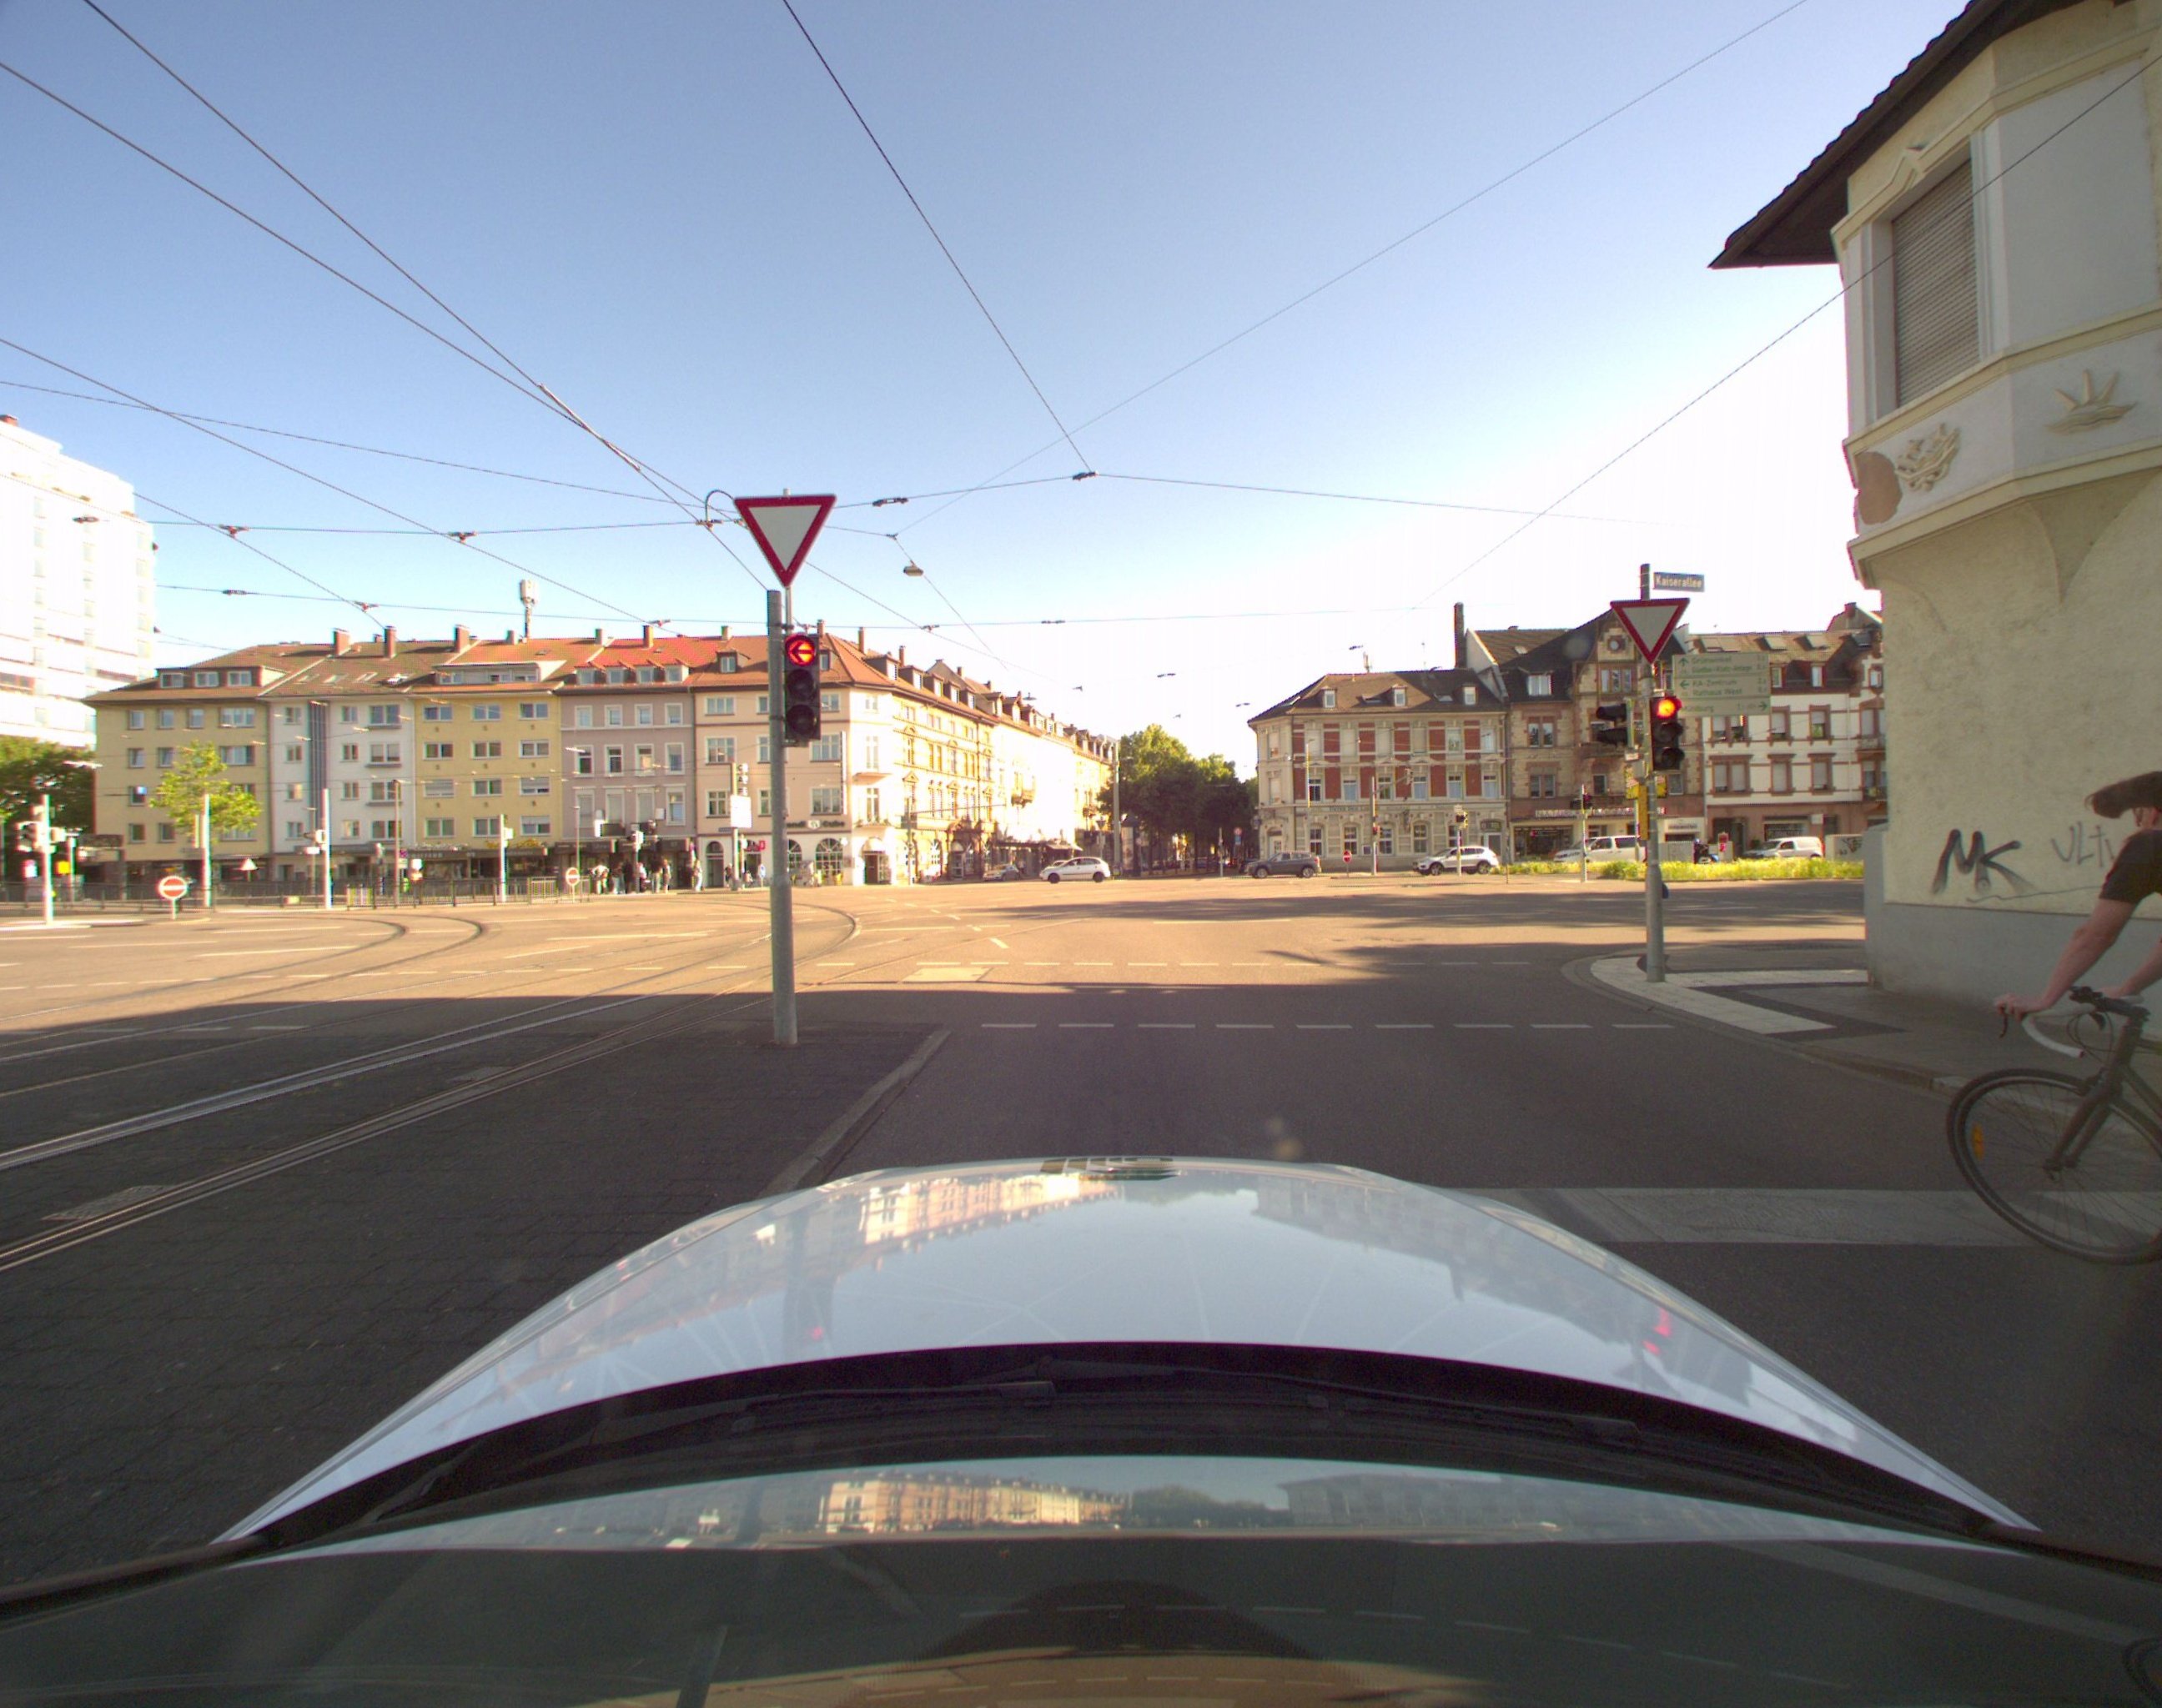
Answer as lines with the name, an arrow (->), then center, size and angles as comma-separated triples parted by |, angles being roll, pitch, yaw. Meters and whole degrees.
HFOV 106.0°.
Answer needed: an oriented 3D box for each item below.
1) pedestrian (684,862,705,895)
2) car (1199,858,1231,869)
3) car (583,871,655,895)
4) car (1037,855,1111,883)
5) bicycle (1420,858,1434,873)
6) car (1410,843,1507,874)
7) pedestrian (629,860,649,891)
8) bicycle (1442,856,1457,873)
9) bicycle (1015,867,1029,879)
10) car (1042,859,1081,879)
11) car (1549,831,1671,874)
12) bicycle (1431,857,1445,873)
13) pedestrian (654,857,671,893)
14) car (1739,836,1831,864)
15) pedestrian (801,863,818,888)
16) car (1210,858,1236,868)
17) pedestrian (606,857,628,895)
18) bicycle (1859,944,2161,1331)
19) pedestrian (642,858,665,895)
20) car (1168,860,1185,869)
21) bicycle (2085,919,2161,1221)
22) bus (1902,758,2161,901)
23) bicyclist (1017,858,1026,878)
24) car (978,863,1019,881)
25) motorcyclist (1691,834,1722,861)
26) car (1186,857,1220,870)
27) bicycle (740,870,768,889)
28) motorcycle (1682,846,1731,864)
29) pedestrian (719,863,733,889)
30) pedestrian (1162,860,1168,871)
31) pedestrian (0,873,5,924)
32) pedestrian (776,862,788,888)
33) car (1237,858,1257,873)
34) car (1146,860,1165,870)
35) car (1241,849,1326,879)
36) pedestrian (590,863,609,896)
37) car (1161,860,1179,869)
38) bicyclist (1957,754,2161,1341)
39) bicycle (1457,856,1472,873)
pedestrian -> -19.990, 1.276, 42.126 | 0.738, 1.682, 0.628 | -1, 0, 1
car -> 17.336, 1.222, 105.162 | 3.959, 1.288, 1.700 | -1, 0, 13
car -> -30.342, 1.899, 53.532 | 3.711, 1.491, 1.820 | 0, -1, 4
car -> -0.334, 0.807, 45.427 | 4.013, 1.423, 1.886 | -1, 0, 1
bicycle -> 22.486, 0.730, 52.979 | 0.483, 0.914, 1.789 | -1, 0, 12
car -> 22.215, 0.261, 48.037 | 4.840, 1.653, 1.999 | -1, 0, -1
pedestrian -> -22.917, 1.090, 42.200 | 0.697, 1.581, 0.559 | -1, 0, -4
bicycle -> 23.858, 0.682, 52.757 | 0.483, 1.020, 1.789 | -1, 0, 12
bicycle -> -4.759, 1.530, 65.568 | 0.650, 1.000, 1.671 | -1, -1, 14
car -> -1.587, 1.216, 67.669 | 1.977, 1.516, 4.189 | -1, 0, 18
car -> 27.128, -0.086, 41.894 | 4.962, 2.013, 2.001 | -1, 0, 1
bicycle -> 23.163, 0.720, 52.875 | 0.483, 1.020, 1.789 | -1, 0, 12
pedestrian -> -21.617, 1.079, 42.044 | 0.559, 1.786, 0.559 | -1, 0, -4
car -> 45.296, -0.247, 52.485 | 4.239, 1.622, 1.999 | -1, 0, -1
pedestrian -> -18.719, 1.442, 56.123 | 0.907, 1.682, 0.742 | -1, 0, -5
car -> 19.381, 1.211, 111.190 | 3.409, 1.239, 1.582 | -1, 0, 13
pedestrian -> -23.177, 1.104, 40.668 | 0.625, 1.850, 0.778 | -1, 0, 1
bicycle -> 3.567, 0.919, 2.502 | 0.568, 1.058, 1.890 | -1, 0, 2
pedestrian -> -21.551, 1.121, 41.058 | 0.764, 1.829, 0.723 | -1, 0, 1
car -> 16.028, 1.735, 136.419 | 1.977, 1.404, 4.189 | -1, 0, 18
bicycle -> 4.510, 0.858, 2.488 | 0.568, 1.165, 1.890 | -1, 0, 2
bus -> 27.078, -0.645, 21.594 | 8.603, 3.457, 2.781 | 0, 1, -6
bicyclist -> -4.765, 1.092, 65.470 | 0.486, 1.601, 0.668 | -1, 0, 12
car -> -6.756, 1.475, 67.362 | 1.977, 1.361, 3.836 | -1, 0, 18
motorcyclist -> 31.835, -0.314, 41.467 | 0.999, 1.355, 0.744 | -1, 0, 1
car -> 14.963, 1.153, 99.508 | 3.959, 1.454, 1.687 | -1, 0, 13
bicycle -> -23.008, 1.762, 57.326 | 1.714, 1.276, 0.385 | -1, 0, -16
motorcycle -> 31.862, 0.049, 41.467 | 2.033, 0.897, 0.562 | -1, 0, 1
pedestrian -> -23.071, 1.408, 52.930 | 0.744, 1.682, 0.623 | -1, 0, -23
pedestrian -> 10.180, 1.371, 98.788 | 0.542, 1.385, 0.628 | -2, 0, 18
pedestrian -> -34.928, 1.439, 25.733 | 0.770, 1.611, 0.794 | -1, 0, -5
pedestrian -> -19.979, 1.393, 54.418 | 0.744, 1.682, 0.623 | -1, 0, -23
car -> 16.802, 1.129, 82.294 | 1.742, 1.420, 4.016 | -1, 0, 14
car -> 11.200, 1.686, 122.502 | 1.977, 1.404, 4.189 | -1, 0, 18
car -> 11.955, 0.578, 48.293 | 4.566, 1.615, 1.999 | -1, 0, -1
pedestrian -> -24.994, 1.306, 42.269 | 0.772, 1.682, 0.622 | -1, 0, -32
car -> 14.329, 1.705, 131.260 | 1.977, 1.404, 4.189 | -1, 0, 18
bicyclist -> 3.565, 0.576, 2.500 | 0.649, 1.767, 0.995 | -1, 0, 2
bicycle -> 24.821, 0.674, 52.716 | 0.483, 1.020, 1.789 | -1, 0, 12
